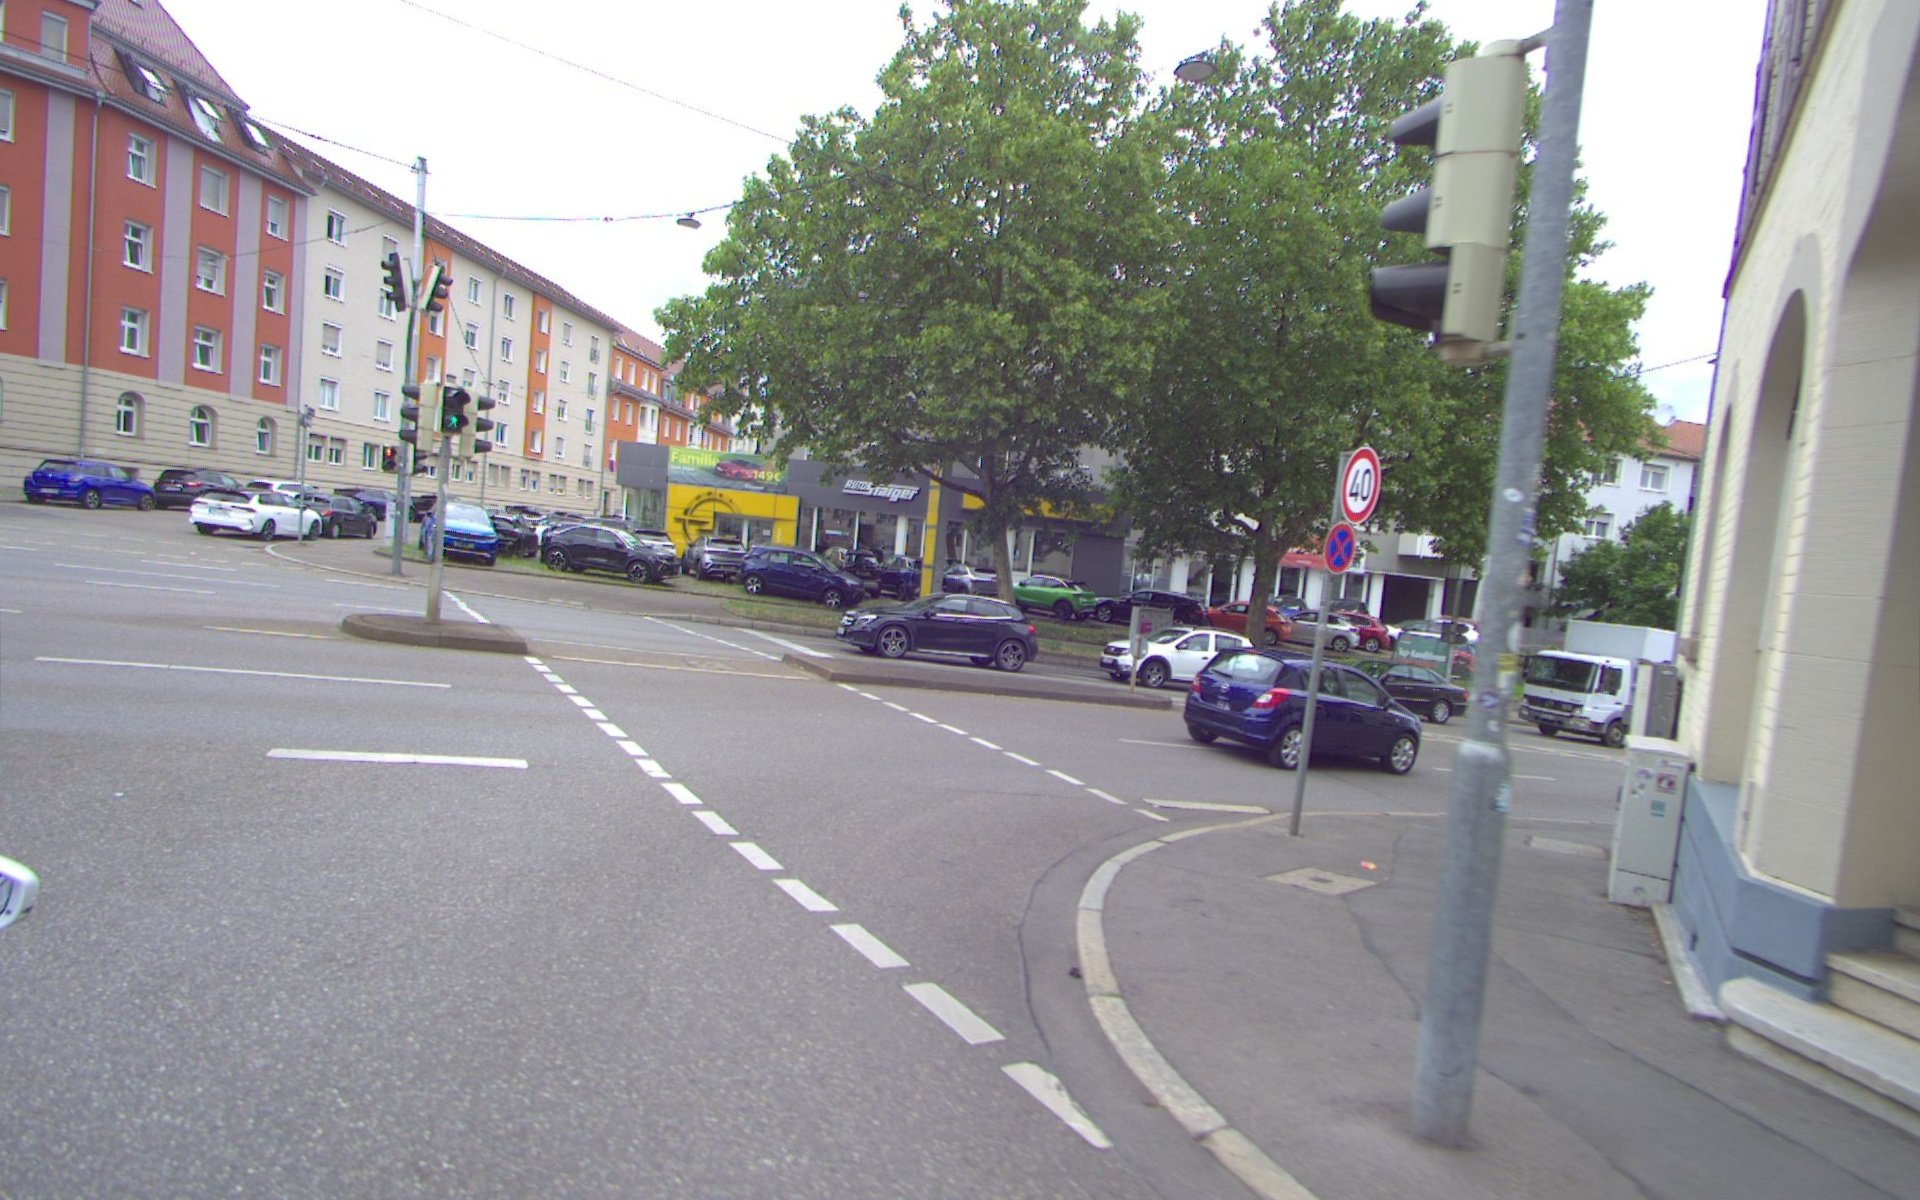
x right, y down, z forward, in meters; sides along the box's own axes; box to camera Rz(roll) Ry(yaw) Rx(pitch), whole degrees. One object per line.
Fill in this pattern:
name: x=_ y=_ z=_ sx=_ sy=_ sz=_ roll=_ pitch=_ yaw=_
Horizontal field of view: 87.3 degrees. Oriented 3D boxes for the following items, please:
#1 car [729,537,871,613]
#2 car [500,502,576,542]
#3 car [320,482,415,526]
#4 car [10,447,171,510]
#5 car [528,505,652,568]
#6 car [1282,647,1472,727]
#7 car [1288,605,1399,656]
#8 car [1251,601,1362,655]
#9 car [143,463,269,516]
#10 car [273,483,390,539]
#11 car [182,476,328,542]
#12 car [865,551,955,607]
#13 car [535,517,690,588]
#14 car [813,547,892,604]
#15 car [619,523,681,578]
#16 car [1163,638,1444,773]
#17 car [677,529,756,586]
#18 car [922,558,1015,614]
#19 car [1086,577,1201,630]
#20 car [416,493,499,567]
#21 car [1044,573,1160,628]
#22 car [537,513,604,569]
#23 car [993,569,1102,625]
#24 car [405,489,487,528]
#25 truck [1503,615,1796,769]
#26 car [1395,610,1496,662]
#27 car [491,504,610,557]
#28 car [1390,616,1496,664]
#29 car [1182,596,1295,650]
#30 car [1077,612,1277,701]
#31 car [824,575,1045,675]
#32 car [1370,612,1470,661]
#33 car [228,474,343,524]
car: x=-5.149 y=-0.841 z=32.617 sx=4.093 sy=1.632 sz=1.824 roll=10 pitch=8 yaw=1
car: x=-21.695 y=-3.994 z=51.841 sx=1.883 sy=1.667 sz=4.136 roll=8 pitch=3 yaw=2
car: x=-28.656 y=-4.625 z=48.809 sx=1.883 sy=1.655 sz=4.136 roll=8 pitch=3 yaw=3
car: x=-28.022 y=-3.857 z=32.612 sx=1.886 sy=1.555 sz=4.130 roll=8 pitch=3 yaw=-7
car: x=-14.351 y=-2.465 z=39.237 sx=4.177 sy=1.805 sz=1.706 roll=8 pitch=4 yaw=-12
car: x=10.946 y=2.284 z=26.425 sx=4.350 sy=1.484 sz=1.989 roll=7 pitch=1 yaw=-22
car: x=16.243 y=1.271 z=42.684 sx=3.935 sy=1.525 sz=1.857 roll=10 pitch=3 yaw=34
car: x=14.071 y=1.112 z=40.868 sx=3.928 sy=1.525 sz=1.860 roll=9 pitch=3 yaw=25
car: x=-28.507 y=-4.128 z=38.228 sx=1.885 sy=1.555 sz=4.130 roll=8 pitch=3 yaw=-7
car: x=-21.736 y=-3.069 z=34.990 sx=1.886 sy=1.555 sz=4.128 roll=8 pitch=3 yaw=-9
car: x=-20.826 y=-2.670 z=29.959 sx=1.887 sy=1.555 sz=4.127 roll=8 pitch=3 yaw=-11
car: x=-1.893 y=-0.804 z=36.888 sx=1.839 sy=1.571 sz=3.973 roll=6 pitch=3 yaw=-24
car: x=-10.582 y=-1.450 z=30.826 sx=3.927 sy=1.496 sz=1.827 roll=10 pitch=3 yaw=2
car: x=-3.934 y=-0.930 z=36.204 sx=1.836 sy=1.571 sz=3.978 roll=7 pitch=3 yaw=-20
car: x=-10.989 y=-1.783 z=35.489 sx=1.836 sy=1.571 sz=3.978 roll=7 pitch=3 yaw=-20
car: x=4.893 y=1.519 z=14.222 sx=3.715 sy=1.465 sz=1.744 roll=7 pitch=1 yaw=-34
car: x=-8.604 y=-1.526 z=35.315 sx=1.839 sy=1.571 sz=3.972 roll=6 pitch=3 yaw=-25
car: x=0.245 y=-0.563 z=37.332 sx=1.839 sy=1.571 sz=3.973 roll=6 pitch=3 yaw=-24
car: x=7.292 y=0.134 z=40.082 sx=3.935 sy=1.525 sz=1.857 roll=10 pitch=3 yaw=34
car: x=-14.565 y=-2.065 z=29.046 sx=1.810 sy=1.598 sz=4.222 roll=7 pitch=4 yaw=-30
car: x=5.487 y=0.020 z=39.056 sx=3.935 sy=1.525 sz=1.749 roll=10 pitch=3 yaw=34
car: x=-13.151 y=-2.043 z=34.148 sx=1.836 sy=1.571 sz=3.978 roll=7 pitch=3 yaw=-20
car: x=3.246 y=-0.129 z=37.626 sx=3.550 sy=1.573 sz=1.617 roll=9 pitch=3 yaw=31
car: x=-27.707 y=-4.896 z=54.383 sx=1.882 sy=1.655 sz=4.137 roll=9 pitch=3 yaw=6
truck: x=20.512 y=2.757 z=29.900 sx=8.057 sy=3.546 sz=2.759 roll=7 pitch=1 yaw=-21
car: x=23.078 y=1.681 z=47.854 sx=3.935 sy=1.847 sz=1.857 roll=10 pitch=4 yaw=34
car: x=-16.826 y=-2.842 z=41.496 sx=4.044 sy=1.556 sz=1.790 roll=8 pitch=4 yaw=-3
car: x=21.720 y=1.762 z=45.384 sx=3.925 sy=1.525 sz=1.861 roll=9 pitch=3 yaw=19
car: x=11.021 y=0.883 z=39.787 sx=3.927 sy=1.525 sz=1.860 roll=9 pitch=3 yaw=22
car: x=5.219 y=1.353 z=24.249 sx=4.200 sy=1.545 sz=1.989 roll=7 pitch=1 yaw=-22
car: x=-0.571 y=0.529 z=21.611 sx=4.200 sy=1.545 sz=1.989 roll=7 pitch=1 yaw=-22
car: x=19.739 y=1.551 z=43.339 sx=3.549 sy=1.525 sz=1.790 roll=9 pitch=3 yaw=17
car: x=-29.062 y=-4.325 z=43.526 sx=1.883 sy=1.655 sz=4.136 roll=8 pitch=3 yaw=3
